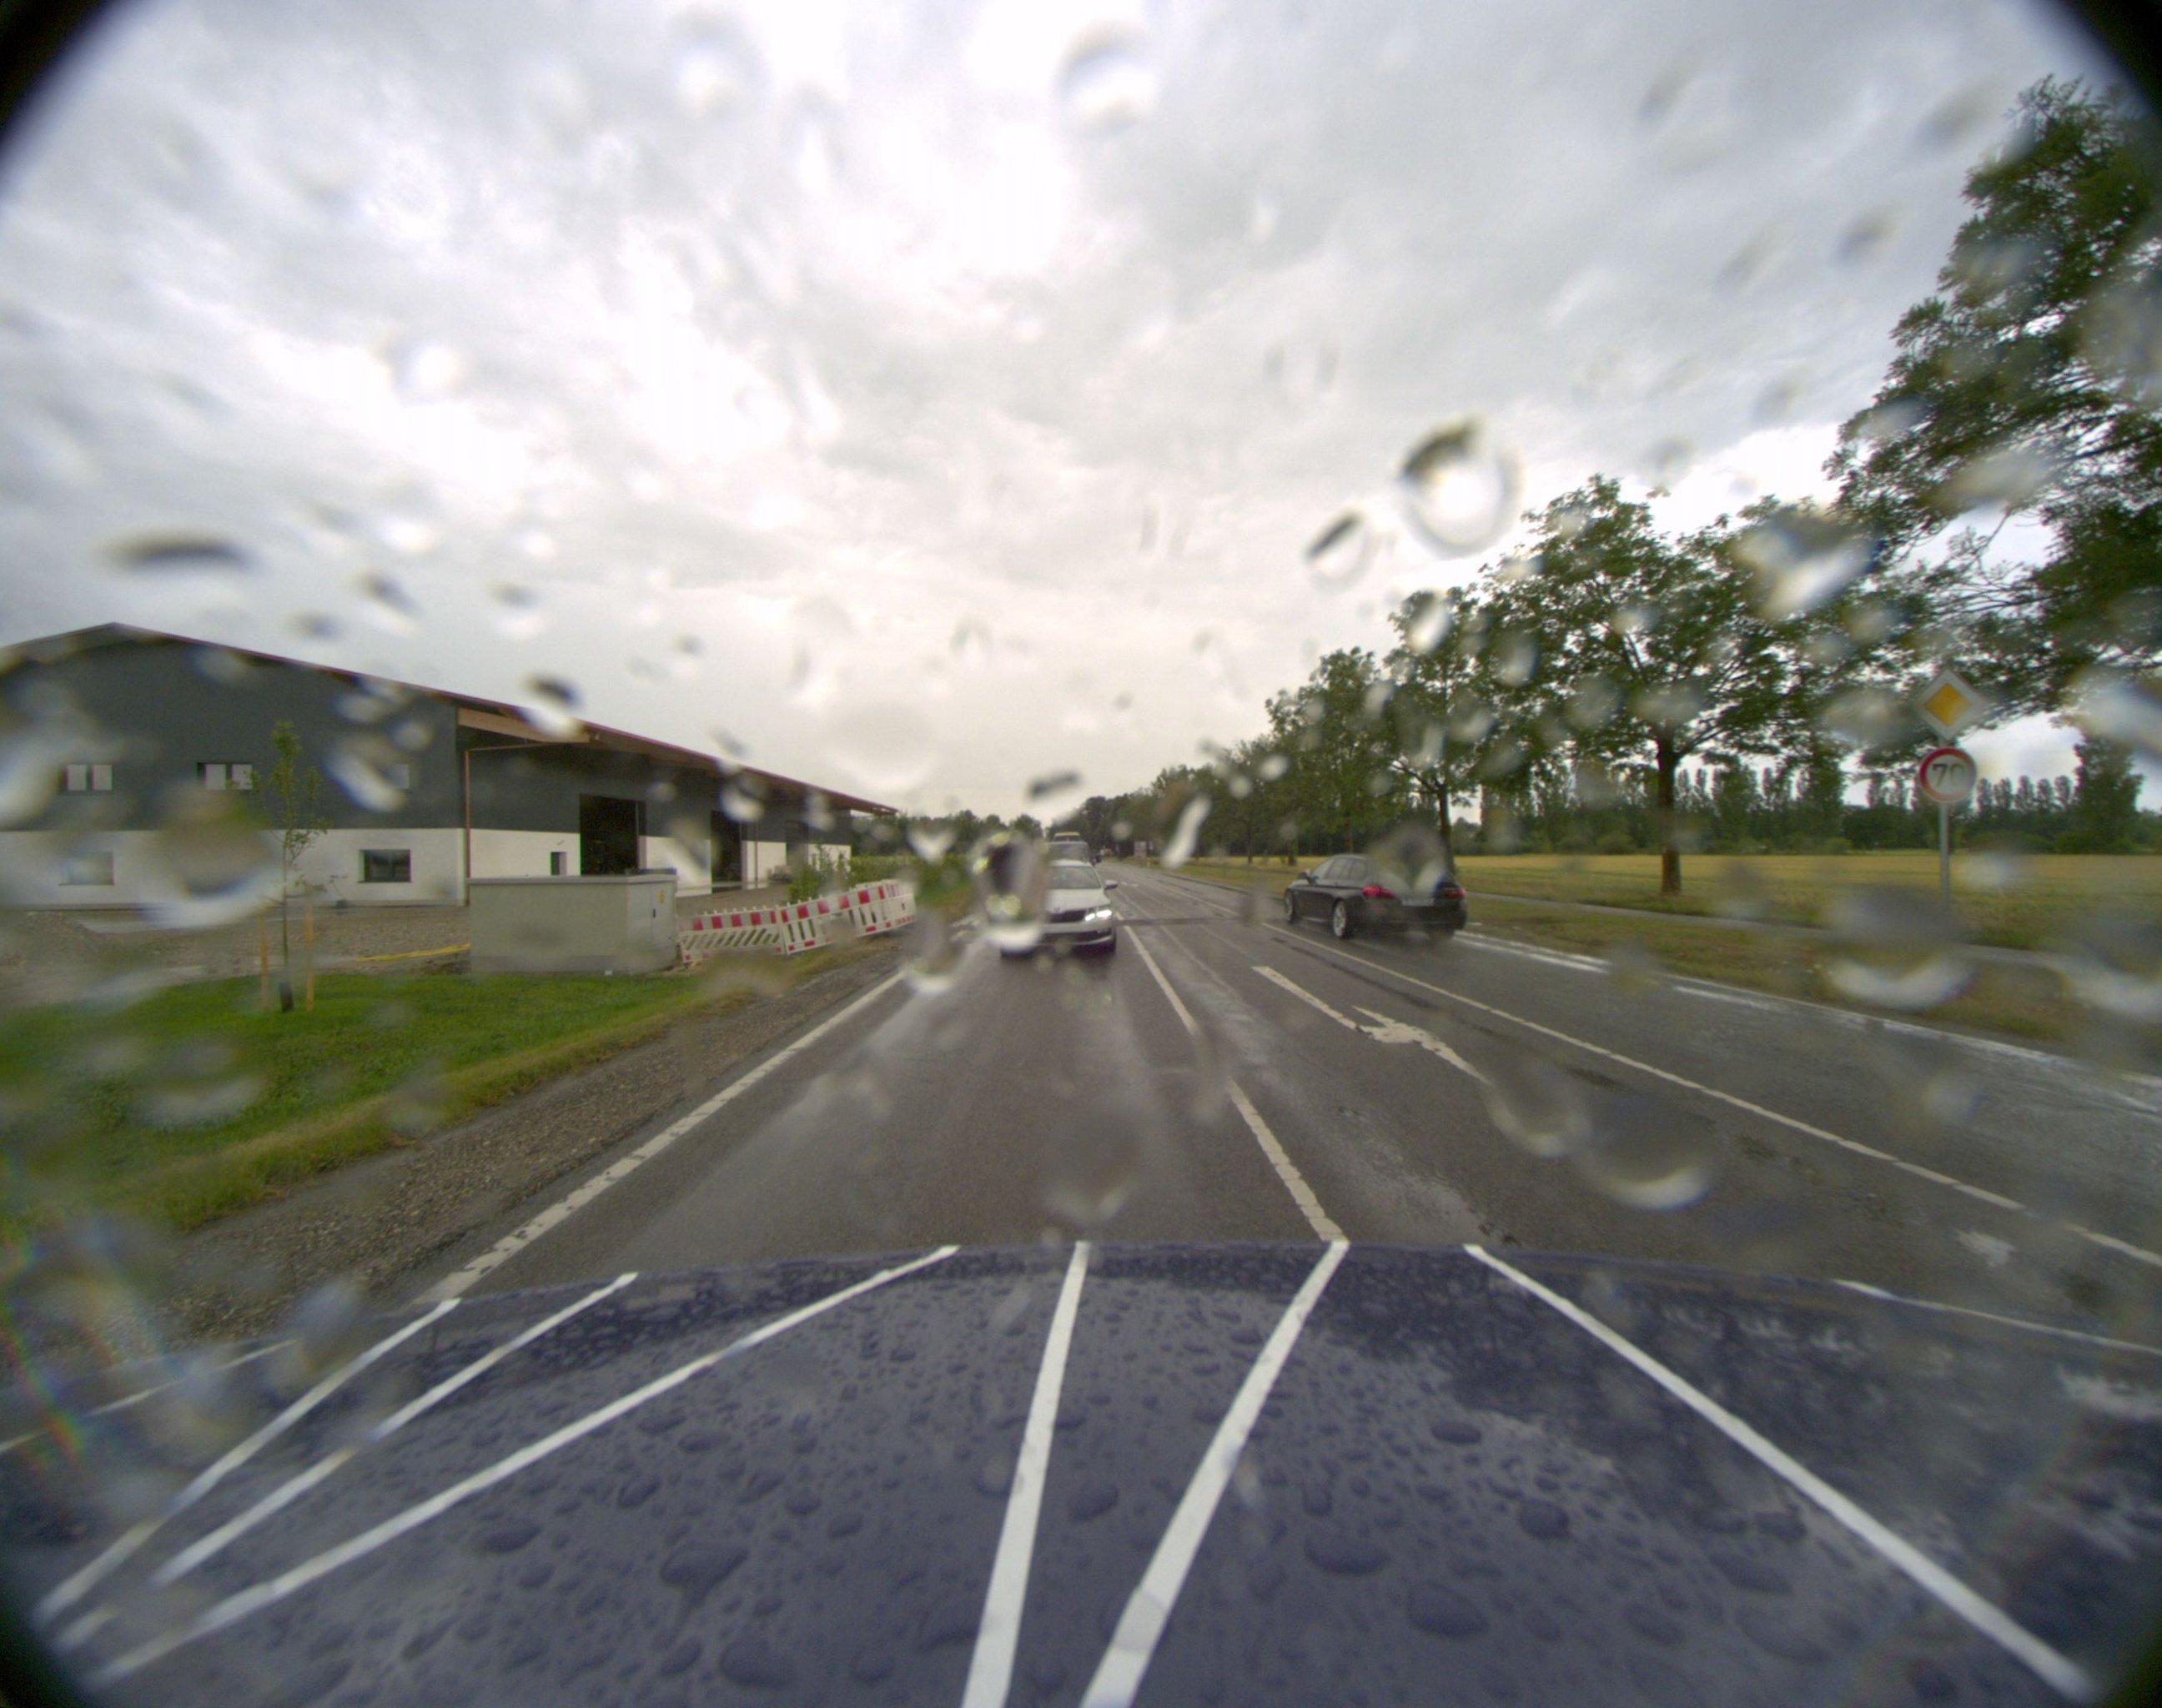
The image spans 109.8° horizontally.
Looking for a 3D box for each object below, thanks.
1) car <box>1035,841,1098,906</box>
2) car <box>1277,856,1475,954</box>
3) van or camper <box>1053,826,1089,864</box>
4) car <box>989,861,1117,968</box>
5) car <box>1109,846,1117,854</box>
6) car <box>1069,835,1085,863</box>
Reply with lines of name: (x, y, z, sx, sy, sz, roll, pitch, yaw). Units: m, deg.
car: (-0.441, 0.541, 24.545, 1.841, 1.888, 4.575, -1, 1, 0)
car: (5.034, 0.784, 13.710, 1.770, 1.429, 4.412, 0, 0, -1)
van or camper: (-0.983, -0.883, 76.056, 3.342, 3.624, 8.371, -1, 1, 0)
car: (-0.409, 0.881, 13.001, 1.770, 1.365, 4.575, -2, 1, 0)
car: (8.375, -1.140, 197.345, 1.998, 2.002, 4.000, -1, 1, 1)
car: (-0.498, -0.554, 87.629, 1.771, 3.134, 4.027, -1, 1, -1)
